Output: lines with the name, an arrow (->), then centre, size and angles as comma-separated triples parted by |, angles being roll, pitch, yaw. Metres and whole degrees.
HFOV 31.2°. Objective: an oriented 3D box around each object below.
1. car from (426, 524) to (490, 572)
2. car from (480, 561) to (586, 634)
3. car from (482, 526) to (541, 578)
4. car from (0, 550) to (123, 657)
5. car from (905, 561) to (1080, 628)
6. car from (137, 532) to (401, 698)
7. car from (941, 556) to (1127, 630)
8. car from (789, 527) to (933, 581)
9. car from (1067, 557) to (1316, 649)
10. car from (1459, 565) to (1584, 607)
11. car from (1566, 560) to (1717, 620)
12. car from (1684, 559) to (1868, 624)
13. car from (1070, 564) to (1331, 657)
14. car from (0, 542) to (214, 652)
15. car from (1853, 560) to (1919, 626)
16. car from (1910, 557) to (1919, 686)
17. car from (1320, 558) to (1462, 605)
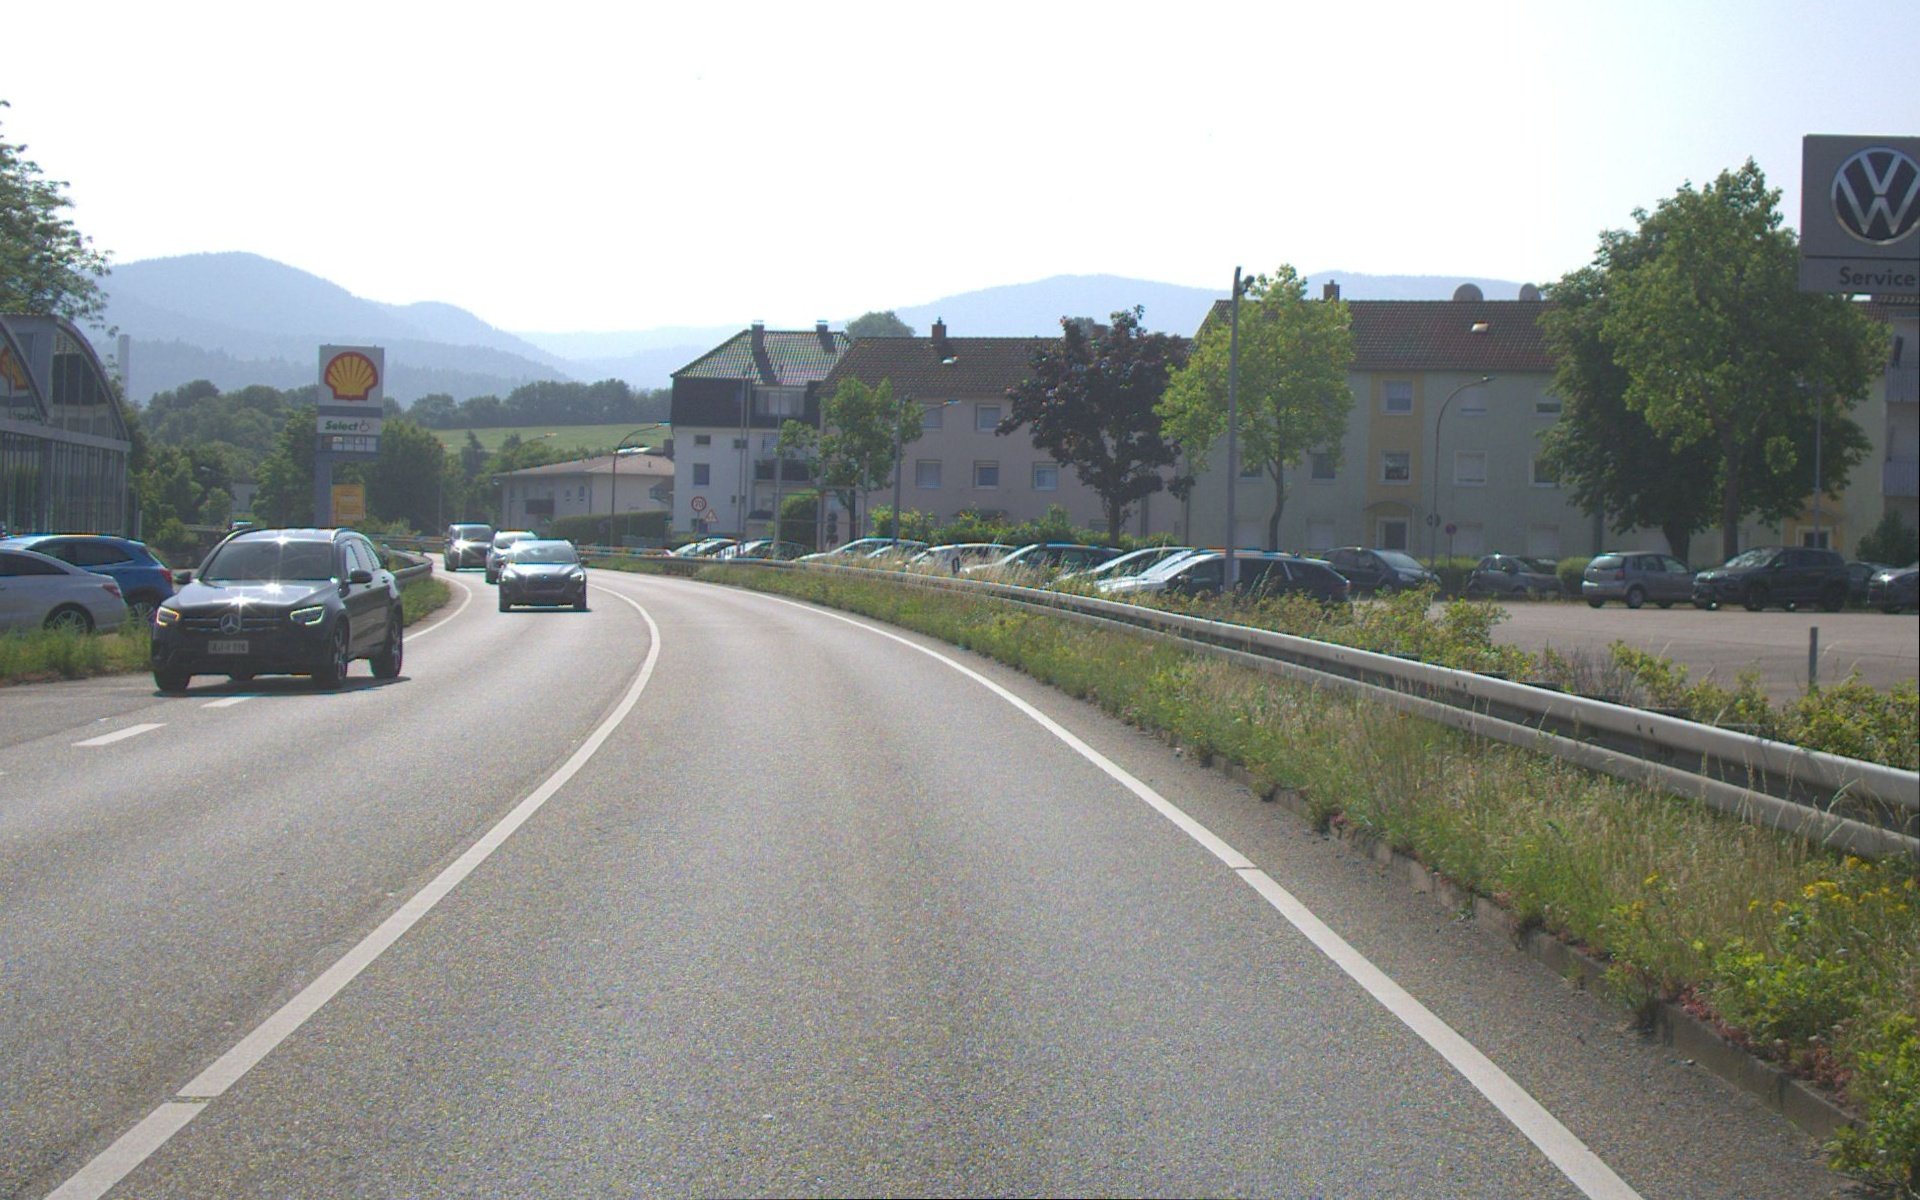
car -> -20.151, -2.064, 137.865 | 1.914, 1.879, 4.912 | -1, 1, -16
car -> -8.978, -0.079, 72.042 | 1.751, 1.469, 4.288 | -1, 1, -13
car -> -14.344, -1.533, 109.928 | 1.792, 1.624, 4.228 | -1, 1, -7
car -> -13.245, 0.036, 44.420 | 4.383, 1.363, 1.852 | 0, 1, -44
car -> 0.788, -0.132, 83.932 | 3.986, 1.574, 1.779 | 0, 0, -11
car -> -7.196, 0.116, 36.241 | 1.811, 1.624, 4.541 | -1, 1, 1
car -> 1.659, -0.157, 78.116 | 3.986, 1.634, 1.888 | 0, 0, -7
car -> -3.096, -1.439, 107.388 | 4.318, 1.634, 2.140 | 0, 0, -7
car -> 4.091, 0.038, 61.083 | 4.159, 1.551, 1.771 | -1, 0, -5
car -> 16.369, -0.421, 100.304 | 1.589, 1.182, 3.662 | 0, 0, -31
car -> 17.745, -0.261, 89.471 | 3.753, 1.516, 1.657 | 0, 1, -33
car -> 20.558, -0.208, 86.594 | 4.482, 1.595, 1.841 | 0, 0, -30
car -> 4.049, 0.171, 58.211 | 4.159, 1.485, 1.732 | -1, 0, -5
car -> -12.921, -0.062, 48.640 | 4.221, 1.501, 1.984 | 0, 1, -44
car -> 23.722, -0.158, 81.721 | 4.619, 1.516, 1.864 | 0, 0, -23
car -> 13.373, 0.246, 39.856 | 4.155, 1.511, 1.825 | 0, 0, -7
car -> 13.158, -0.572, 105.086 | 1.908, 1.400, 4.525 | 0, 0, -31
